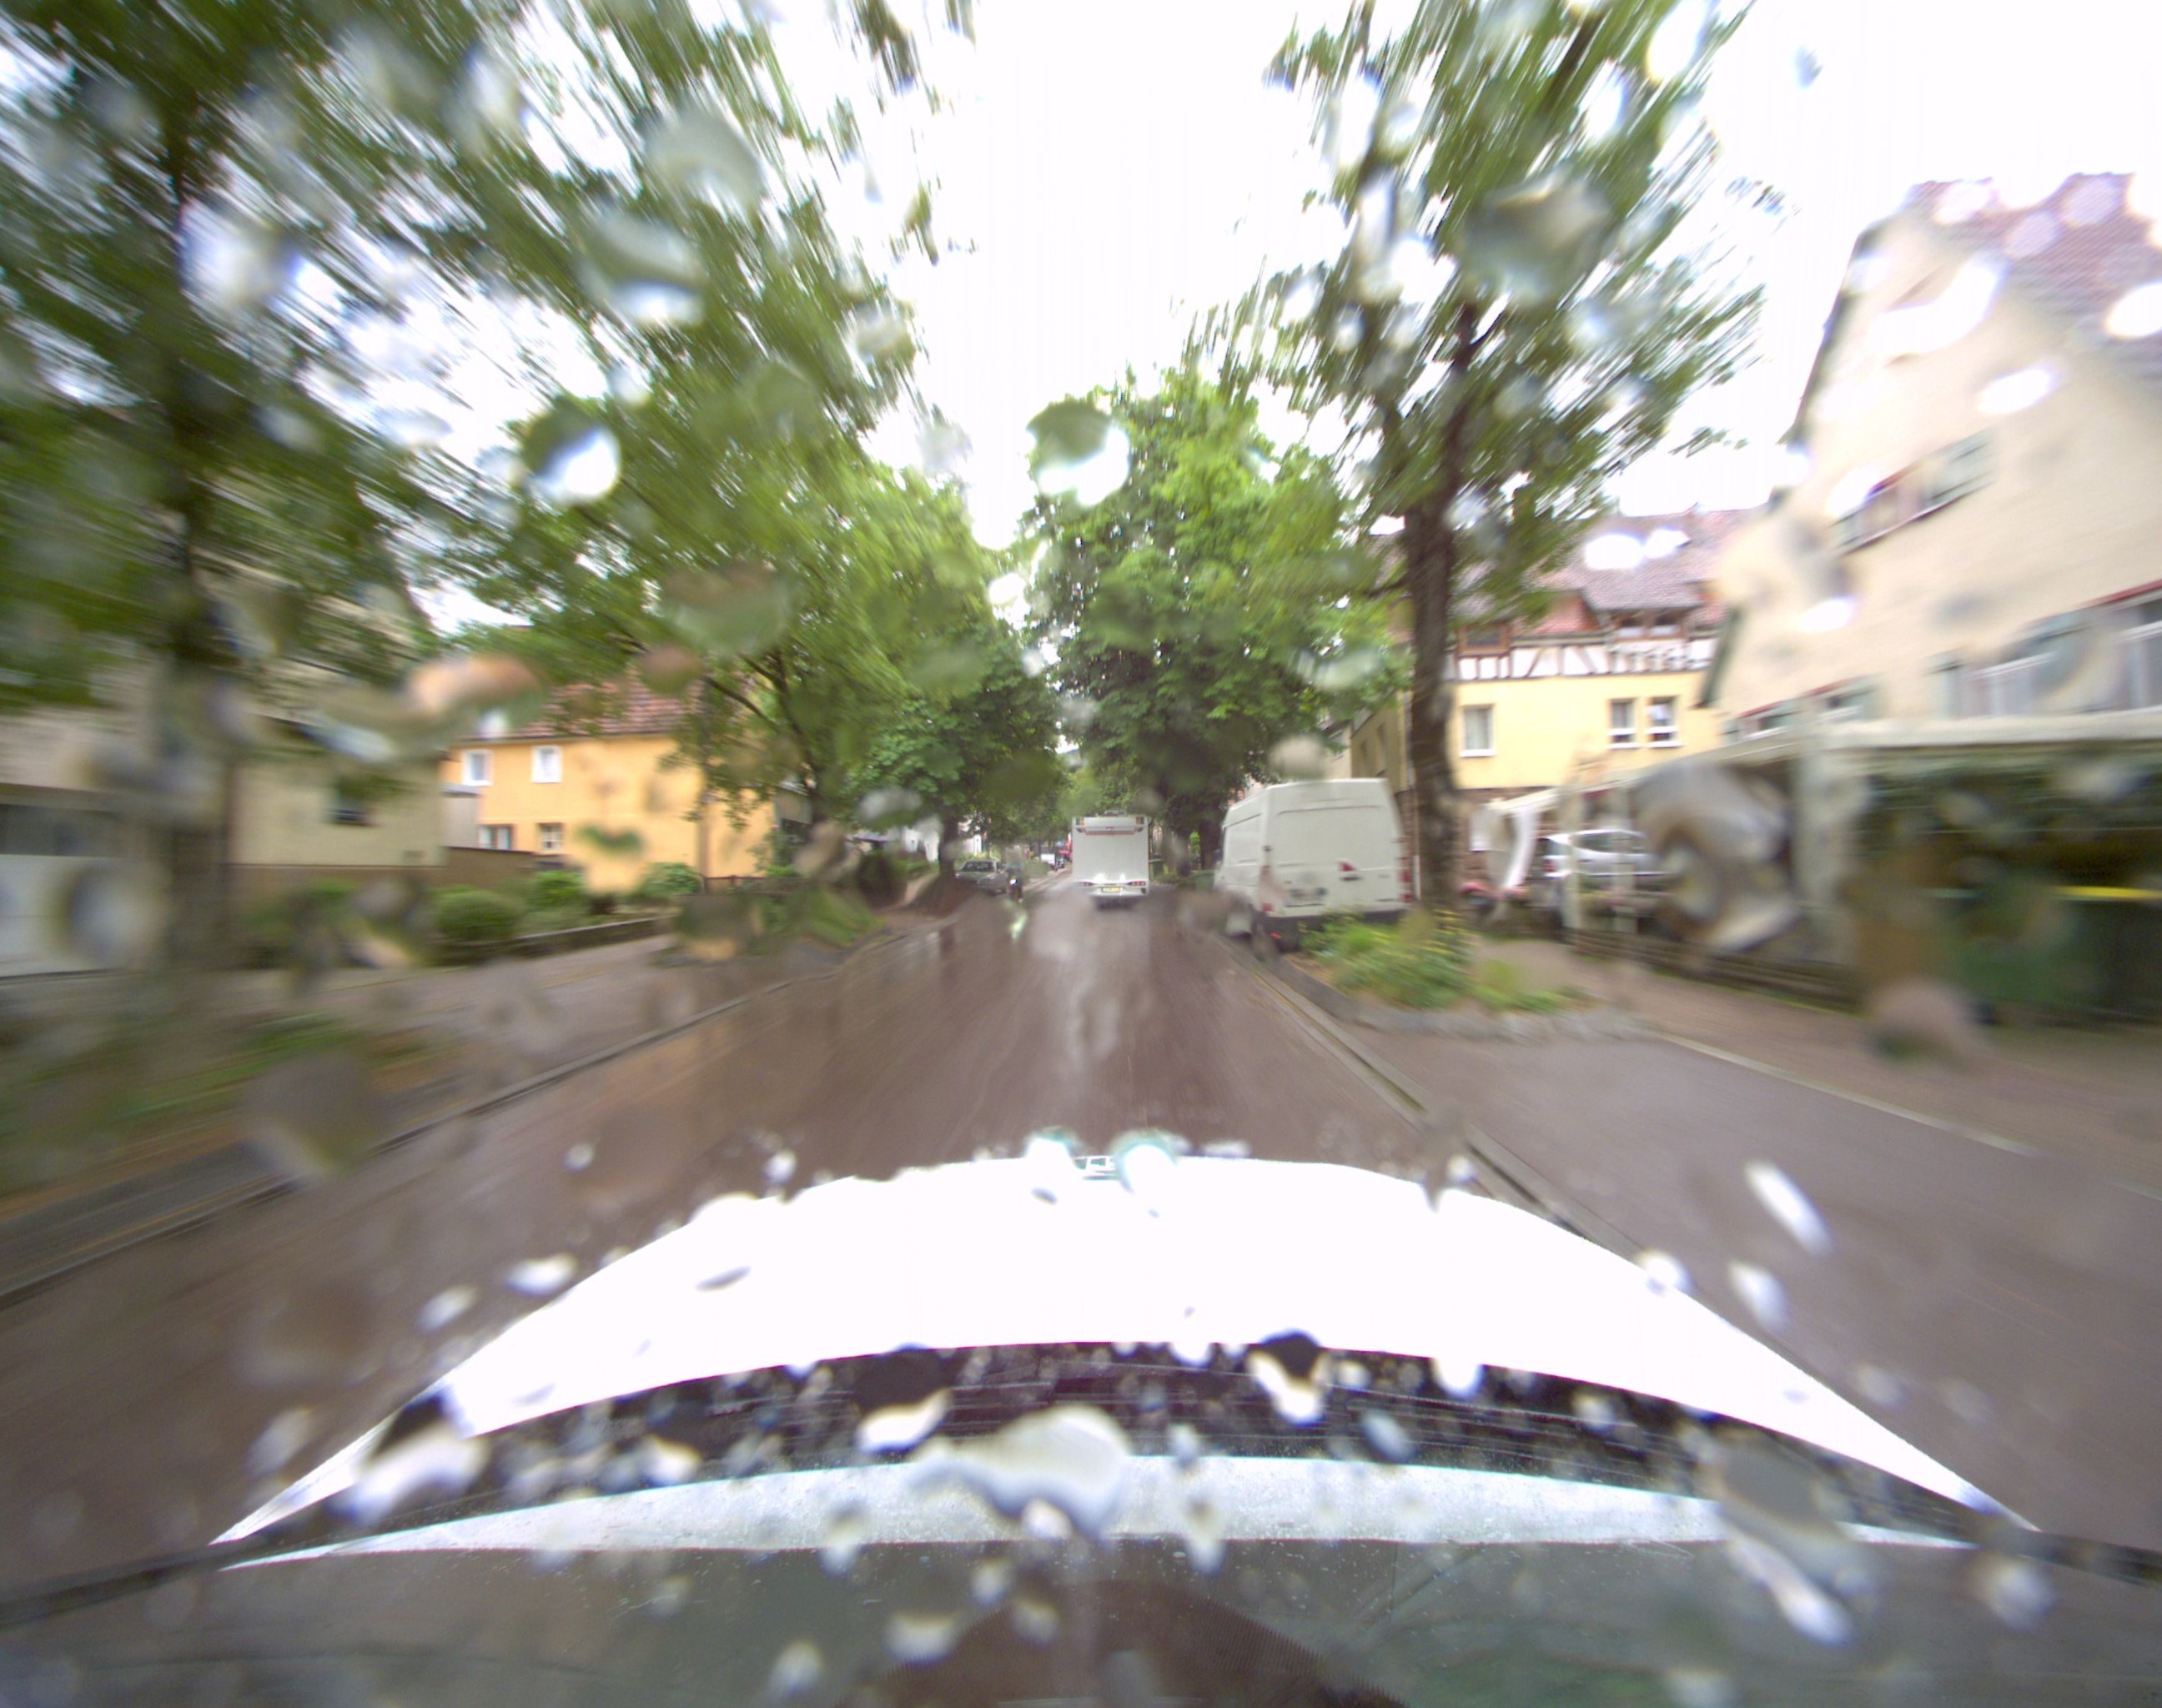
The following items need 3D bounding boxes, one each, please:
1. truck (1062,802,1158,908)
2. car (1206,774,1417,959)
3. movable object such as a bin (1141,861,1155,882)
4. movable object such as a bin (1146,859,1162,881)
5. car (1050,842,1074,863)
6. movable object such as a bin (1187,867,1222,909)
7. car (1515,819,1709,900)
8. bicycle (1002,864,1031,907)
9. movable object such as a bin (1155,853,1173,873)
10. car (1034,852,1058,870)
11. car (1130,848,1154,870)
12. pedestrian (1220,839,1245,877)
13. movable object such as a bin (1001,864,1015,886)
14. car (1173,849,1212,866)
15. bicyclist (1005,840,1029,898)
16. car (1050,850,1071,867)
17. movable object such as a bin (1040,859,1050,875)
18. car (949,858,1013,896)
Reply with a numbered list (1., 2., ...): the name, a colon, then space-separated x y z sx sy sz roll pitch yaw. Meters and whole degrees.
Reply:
1. truck: 0.929 0.037 26.282 2.684 2.986 6.239 -1 0 2
2. car: 3.496 0.178 13.601 2.133 2.460 5.437 -1 0 2
3. movable object such as a bin: 3.505 0.898 42.549 0.642 1.082 0.540 -1 0 -2
4. movable object such as a bin: 3.607 0.772 40.239 0.686 1.082 0.540 -1 0 -2
5. car: -2.294 -0.252 100.558 2.293 2.483 5.792 -1 1 5
6. movable object such as a bin: 3.298 0.909 21.820 0.794 1.075 0.879 -1 0 1
7. car: 12.060 0.139 18.700 3.266 1.595 1.665 -3 -1 9
8. bicycle: -1.924 0.913 24.505 0.625 1.209 1.982 -1 0 2
9. movable object such as a bin: 5.780 0.618 56.826 1.219 1.315 1.135 -2 0 4
10. car: -3.006 0.559 70.864 1.640 1.533 3.870 0 0 4
11. car: 5.226 0.393 70.202 1.907 1.792 4.490 -1 0 2
12. pedestrian: 6.696 0.174 36.004 0.947 1.652 0.797 -2 -1 15
13. movable object such as a bin: -3.605 1.047 40.280 0.592 1.062 0.546 2 0 5
14. car: 10.425 0.364 76.271 3.355 1.430 1.630 -3 0 -2
15. bicyclist: -1.933 0.446 24.594 0.625 1.731 0.880 -1 0 1
16. car: -1.967 0.430 79.690 1.765 1.553 4.002 1 1 2
17. movable object such as a bin: -2.569 0.911 58.907 0.640 1.111 0.536 -2 0 3
18. car: -3.949 0.867 32.861 1.765 1.389 4.549 1 0 3
